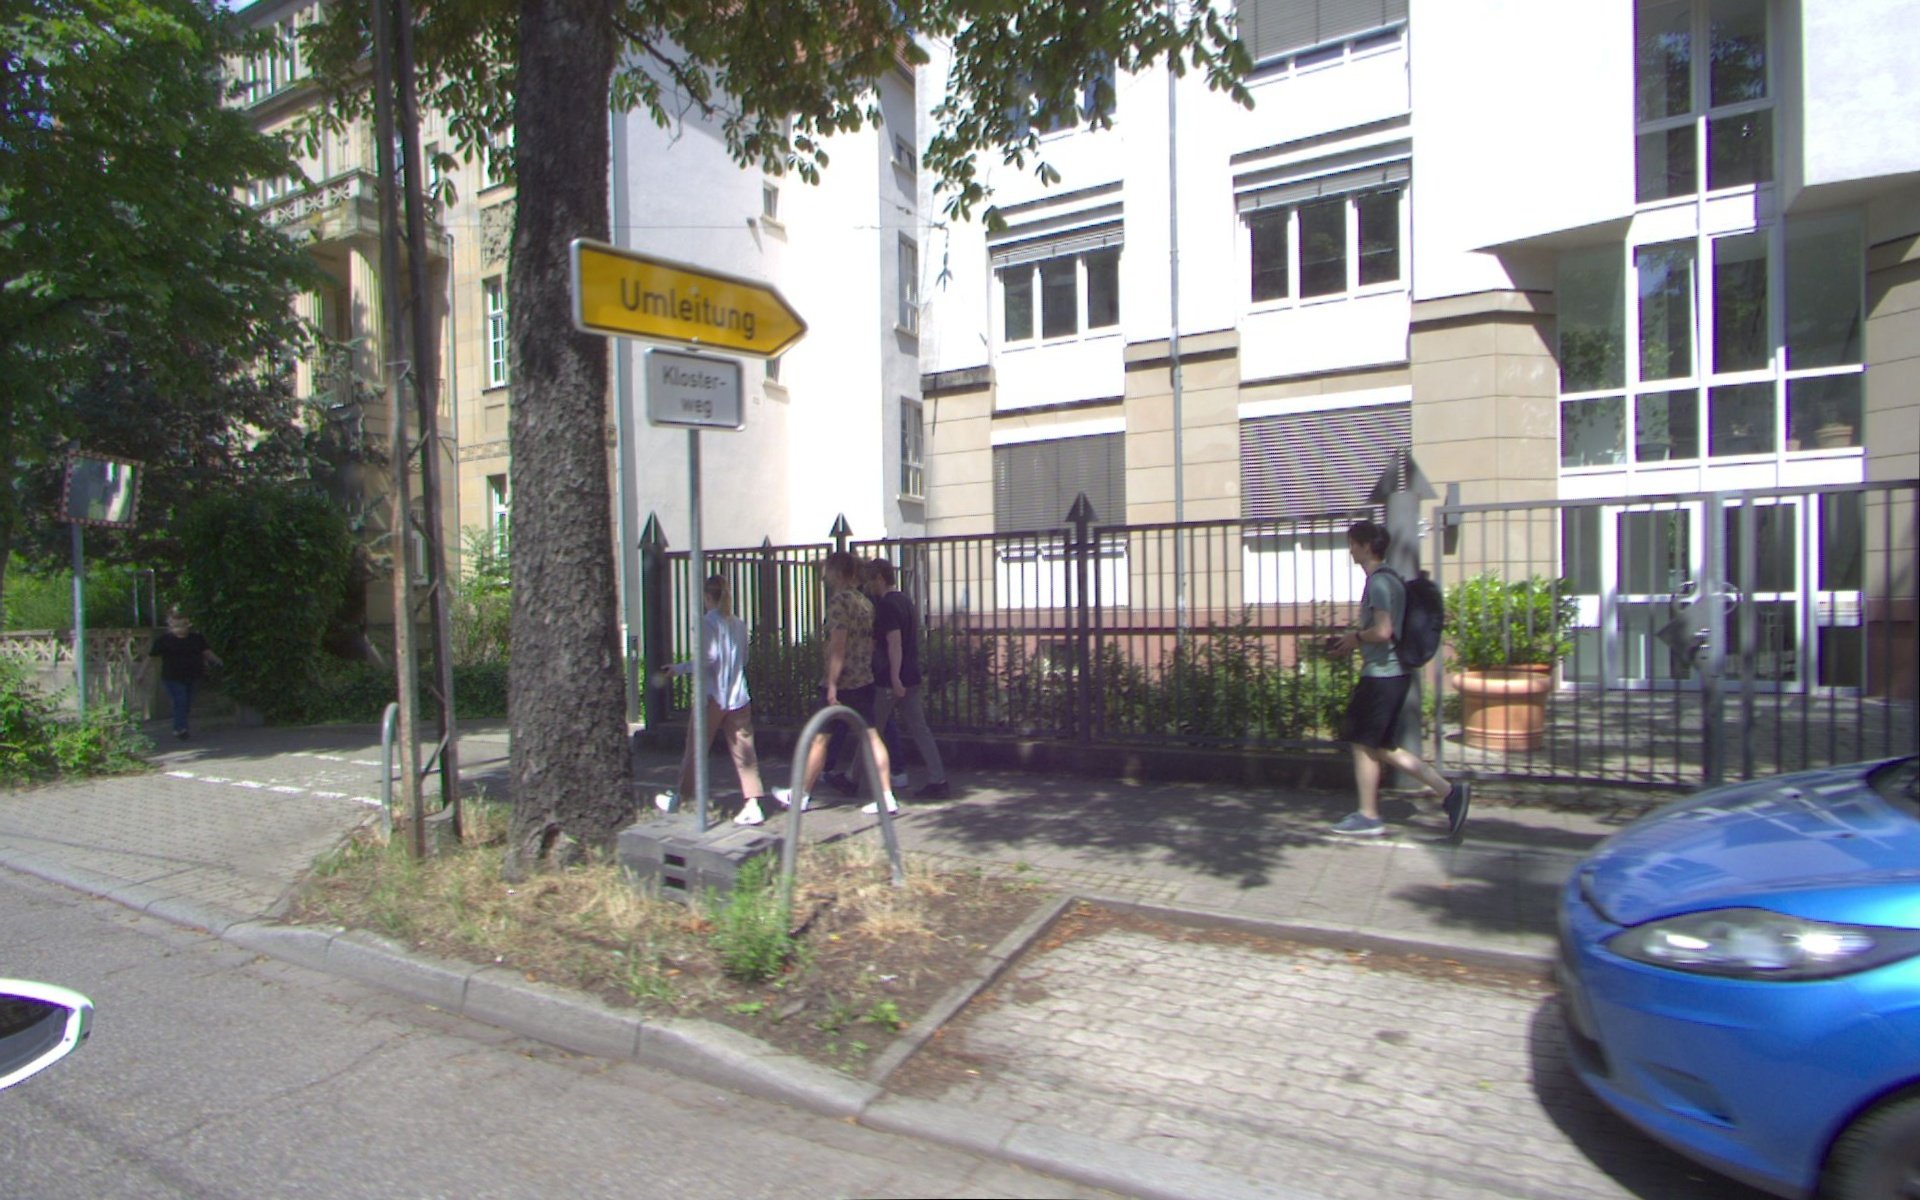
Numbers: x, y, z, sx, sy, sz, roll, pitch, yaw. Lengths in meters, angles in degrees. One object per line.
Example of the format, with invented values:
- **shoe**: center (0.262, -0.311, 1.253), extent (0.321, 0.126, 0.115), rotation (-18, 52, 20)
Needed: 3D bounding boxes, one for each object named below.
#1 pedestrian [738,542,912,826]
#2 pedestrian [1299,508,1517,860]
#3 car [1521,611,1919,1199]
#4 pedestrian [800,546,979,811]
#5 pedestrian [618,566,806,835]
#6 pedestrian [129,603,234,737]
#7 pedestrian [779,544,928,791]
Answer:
- **pedestrian**: center (-0.916, 0.543, 6.876), extent (0.932, 1.800, 0.704), rotation (-1, 0, 28)
- **pedestrian**: center (2.565, 0.447, 5.740), extent (1.067, 1.821, 0.684), rotation (-1, 0, 29)
- **car**: center (3.355, 0.754, 2.172), extent (3.663, 1.462, 1.676), rotation (-1, 0, 28)
- **pedestrian**: center (-0.510, 0.541, 7.347), extent (1.036, 1.785, 0.786), rotation (-1, 0, 29)
- **pedestrian**: center (-1.672, 0.632, 6.784), extent (0.959, 1.673, 0.765), rotation (-1, 0, 30)
- **pedestrian**: center (-10.153, 0.885, 13.067), extent (0.825, 1.667, 0.854), rotation (-1, 0, 35)
- **pedestrian**: center (-0.841, 0.511, 7.953), extent (0.962, 1.835, 0.660), rotation (-1, 0, 29)
